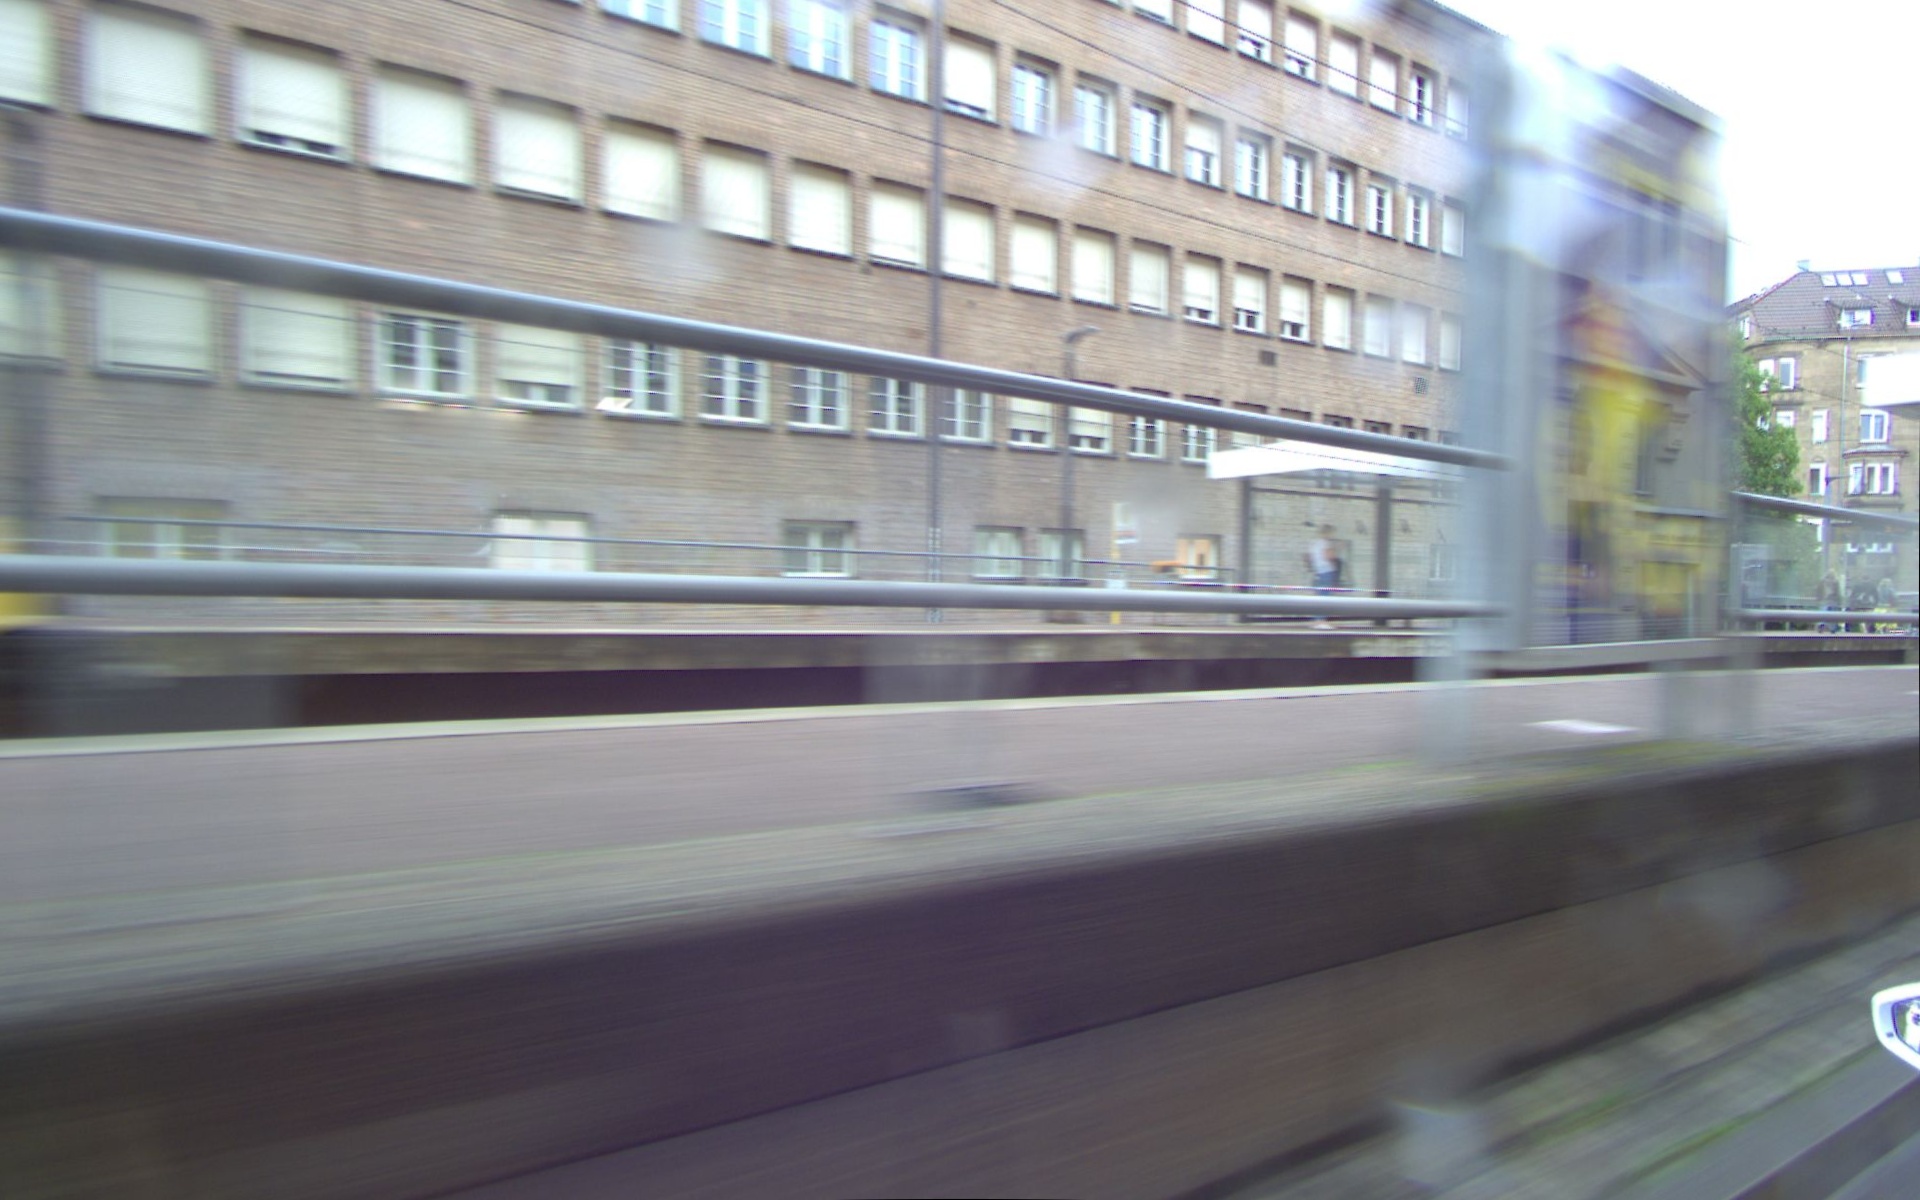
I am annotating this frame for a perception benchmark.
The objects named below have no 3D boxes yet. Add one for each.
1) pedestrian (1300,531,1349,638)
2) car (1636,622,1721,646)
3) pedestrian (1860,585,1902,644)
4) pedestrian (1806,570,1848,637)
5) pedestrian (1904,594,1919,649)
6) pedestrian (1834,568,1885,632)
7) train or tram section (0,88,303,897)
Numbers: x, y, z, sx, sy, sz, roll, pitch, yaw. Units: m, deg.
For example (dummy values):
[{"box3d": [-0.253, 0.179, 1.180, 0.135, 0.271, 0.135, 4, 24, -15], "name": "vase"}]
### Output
[{"box3d": [6.022, -0.242, 16.594, 0.486, 1.732, 0.584, 1, -1, -31], "name": "pedestrian"}, {"box3d": [44.558, 2.082, 62.339, 3.919, 1.421, 1.743, 1, -1, 11], "name": "car"}, {"box3d": [26.481, 0.425, 28.883, 0.633, 1.669, 0.740, 1, -2, -31], "name": "pedestrian"}, {"box3d": [22.707, 0.085, 26.295, 0.681, 1.721, 0.660, -1, 0, -34], "name": "pedestrian"}, {"box3d": [28.593, 0.665, 29.724, 0.945, 1.604, 0.689, 3, 0, -31], "name": "pedestrian"}, {"box3d": [24.900, -0.002, 27.806, 0.873, 1.719, 0.740, 3, 1, -31], "name": "pedestrian"}, {"box3d": [-12.843, -0.748, 1.522, 19.638, 3.973, 2.700, 2, 0, -32], "name": "train or tram section"}]
